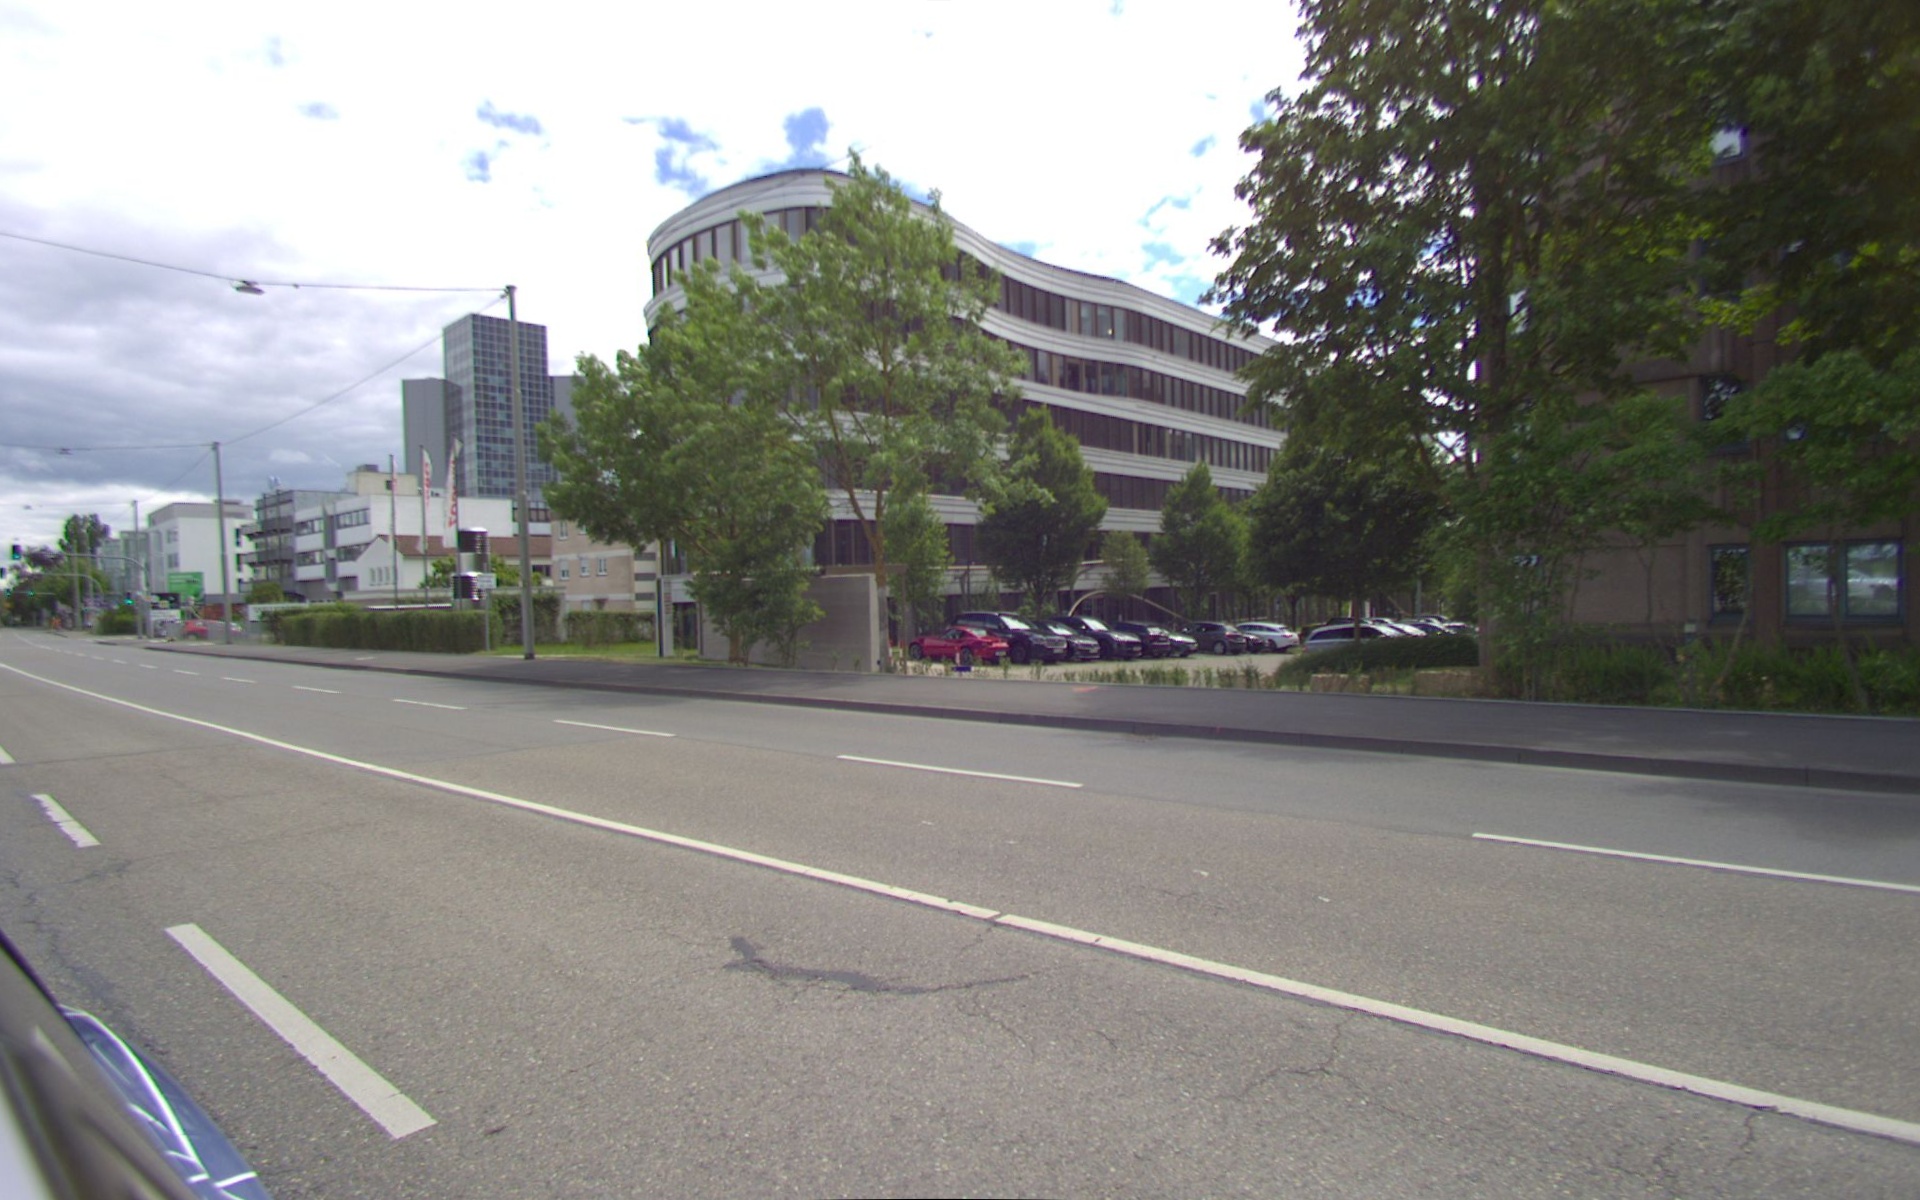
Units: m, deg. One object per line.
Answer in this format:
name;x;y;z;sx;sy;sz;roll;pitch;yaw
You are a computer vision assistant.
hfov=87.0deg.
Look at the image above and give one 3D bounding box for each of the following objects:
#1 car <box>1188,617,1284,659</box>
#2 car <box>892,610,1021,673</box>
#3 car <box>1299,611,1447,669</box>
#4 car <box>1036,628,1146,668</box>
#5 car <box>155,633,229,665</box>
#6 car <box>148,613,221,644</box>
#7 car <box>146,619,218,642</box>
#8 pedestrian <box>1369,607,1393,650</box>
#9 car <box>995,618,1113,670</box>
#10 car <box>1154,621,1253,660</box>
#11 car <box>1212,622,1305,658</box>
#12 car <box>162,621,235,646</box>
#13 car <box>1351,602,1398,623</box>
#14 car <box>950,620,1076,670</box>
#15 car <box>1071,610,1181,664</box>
car;12.961;1.750;47.659;3.998;1.785;1.823;1;2;41
car;-0.136;1.313;33.824;3.993;1.807;1.846;2;2;36
car;13.225;1.232;32.521;3.998;1.674;1.973;-1;0;41
car;4.978;1.795;38.764;3.998;1.386;1.506;-1;0;41
car;-54.522;3.474;71.879;1.920;2.029;3.944;-1;0;42
car;-56.457;2.042;73.677;1.904;2.029;3.944;-1;0;42
car;-57.921;2.261;75.413;1.823;1.342;3.946;-3;2;42
pedestrian;22.773;1.534;54.698;1.001;2.218;0.706;2;2;41
car;3.402;1.562;37.138;3.998;1.736;1.801;-1;0;41
car;11.110;1.805;46.292;4.038;1.629;1.822;-1;0;41
car;14.659;1.939;49.743;3.998;1.497;1.836;2;2;41
car;-52.451;2.299;69.755;1.835;1.623;3.753;-2;-1;41
car;41.461;1.276;101.241;3.998;2.029;1.973;-1;0;41
car;1.810;1.527;35.206;3.998;1.630;1.973;-1;-2;41
car;6.687;1.454;41.024;3.998;2.042;1.908;-1;0;41
